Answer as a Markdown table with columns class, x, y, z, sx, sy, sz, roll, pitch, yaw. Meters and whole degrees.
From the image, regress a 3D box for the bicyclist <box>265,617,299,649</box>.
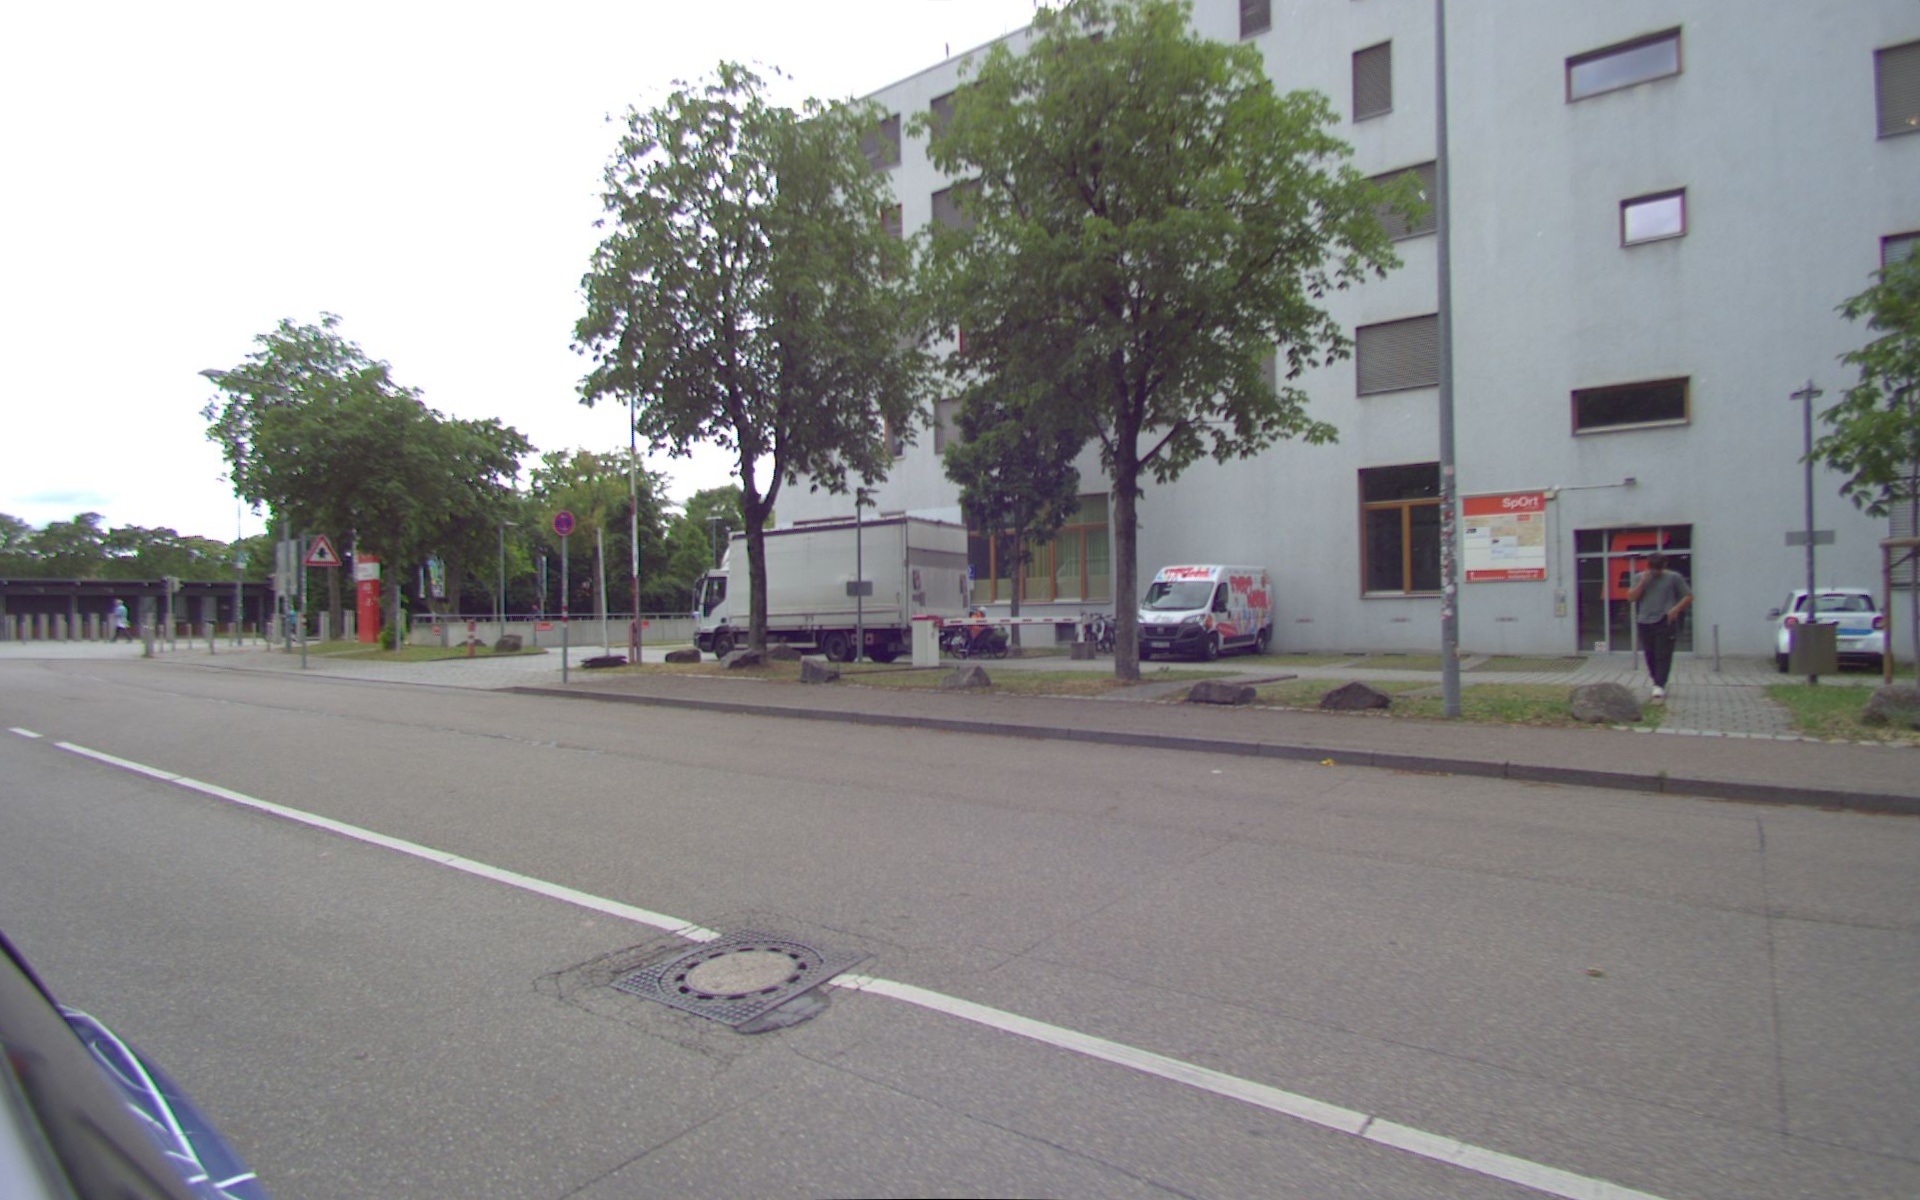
| class | x | y | z | sx | sy | sz | roll | pitch | yaw |
| --- | --- | --- | --- | --- | --- | --- | --- | --- | --- |
| bicyclist | -31.943 | 1.556 | 47.697 | 0.741 | 1.441 | 1.146 | 0 | 0 | 34 |

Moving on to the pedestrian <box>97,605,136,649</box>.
| class | x | y | z | sx | sy | sz | roll | pitch | yaw |
| --- | --- | --- | --- | --- | --- | --- | --- | --- | --- |
| pedestrian | -36.393 | 1.150 | 43.696 | 1.181 | 1.847 | 0.930 | 0 | 1 | -33 |

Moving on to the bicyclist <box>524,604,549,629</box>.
| class | x | y | z | sx | sy | sz | roll | pitch | yaw |
| --- | --- | --- | --- | --- | --- | --- | --- | --- | --- |
| bicyclist | -26.371 | 1.034 | 62.972 | 0.923 | 1.507 | 1.091 | 0 | 1 | 28 |

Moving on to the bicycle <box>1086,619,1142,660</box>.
| class | x | y | z | sx | sy | sz | roll | pitch | yaw |
| --- | --- | --- | --- | --- | --- | --- | --- | --- | --- |
| bicycle | 4.471 | 1.120 | 29.293 | 0.613 | 1.078 | 2.004 | 0 | 0 | 40 |

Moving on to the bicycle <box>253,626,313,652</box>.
| class | x | y | z | sx | sy | sz | roll | pitch | yaw |
| --- | --- | --- | --- | --- | --- | --- | --- | --- | --- |
| bicycle | -31.914 | 1.835 | 47.741 | 0.746 | 1.132 | 2.232 | 0 | 0 | 34 |

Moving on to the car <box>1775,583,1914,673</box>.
| class | x | y | z | sx | sy | sz | roll | pitch | yaw |
| --- | --- | --- | --- | --- | --- | --- | --- | --- | --- |
| car | 16.535 | 0.459 | 19.070 | 1.690 | 1.511 | 3.579 | 0 | 0 | 37 |

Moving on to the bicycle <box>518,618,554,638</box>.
| class | x | y | z | sx | sy | sz | roll | pitch | yaw |
| --- | --- | --- | --- | --- | --- | --- | --- | --- | --- |
| bicycle | -26.366 | 1.752 | 62.981 | 0.774 | 1.152 | 2.032 | 0 | 1 | 27 |

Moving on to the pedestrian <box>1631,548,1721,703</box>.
| class | x | y | z | sx | sy | sz | roll | pitch | yaw |
| --- | --- | --- | --- | --- | --- | --- | --- | --- | --- |
| pedestrian | 8.186 | 0.274 | 11.602 | 0.784 | 1.684 | 0.837 | 0 | 0 | 32 |

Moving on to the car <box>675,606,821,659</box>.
| class | x | y | z | sx | sy | sz | roll | pitch | yaw |
| --- | --- | --- | --- | --- | --- | --- | --- | --- | --- |
| car | -7.570 | 1.099 | 36.709 | 2.092 | 1.705 | 5.277 | 0 | 0 | 33 |

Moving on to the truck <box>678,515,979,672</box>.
| class | x | y | z | sx | sy | sz | roll | pitch | yaw |
| --- | --- | --- | --- | --- | --- | --- | --- | --- | --- |
| truck | -3.695 | -0.137 | 26.895 | 8.346 | 3.628 | 2.654 | 0 | 0 | 35 |

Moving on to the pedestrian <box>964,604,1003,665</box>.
| class | x | y | z | sx | sy | sz | roll | pitch | yaw |
| --- | --- | --- | --- | --- | --- | --- | --- | --- | --- |
| pedestrian | 0.642 | 0.929 | 27.498 | 0.881 | 1.618 | 0.675 | 0 | 0 | 21 |

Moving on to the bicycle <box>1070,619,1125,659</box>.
| class | x | y | z | sx | sy | sz | roll | pitch | yaw |
| --- | --- | --- | --- | --- | --- | --- | --- | --- | --- |
| bicycle | 4.066 | 1.121 | 29.831 | 0.613 | 1.078 | 2.004 | 0 | 0 | 40 |

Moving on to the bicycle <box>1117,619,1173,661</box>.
| class | x | y | z | sx | sy | sz | roll | pitch | yaw |
| --- | --- | --- | --- | --- | --- | --- | --- | --- | --- |
| bicycle | 5.237 | 1.117 | 28.532 | 0.613 | 1.078 | 2.004 | 0 | 0 | 40 |

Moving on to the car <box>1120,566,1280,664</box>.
| class | x | y | z | sx | sy | sz | roll | pitch | yaw |
| --- | --- | --- | --- | --- | --- | --- | --- | --- | --- |
| car | 6.470 | 0.338 | 26.749 | 2.076 | 2.296 | 5.574 | 0 | 0 | 37 |
